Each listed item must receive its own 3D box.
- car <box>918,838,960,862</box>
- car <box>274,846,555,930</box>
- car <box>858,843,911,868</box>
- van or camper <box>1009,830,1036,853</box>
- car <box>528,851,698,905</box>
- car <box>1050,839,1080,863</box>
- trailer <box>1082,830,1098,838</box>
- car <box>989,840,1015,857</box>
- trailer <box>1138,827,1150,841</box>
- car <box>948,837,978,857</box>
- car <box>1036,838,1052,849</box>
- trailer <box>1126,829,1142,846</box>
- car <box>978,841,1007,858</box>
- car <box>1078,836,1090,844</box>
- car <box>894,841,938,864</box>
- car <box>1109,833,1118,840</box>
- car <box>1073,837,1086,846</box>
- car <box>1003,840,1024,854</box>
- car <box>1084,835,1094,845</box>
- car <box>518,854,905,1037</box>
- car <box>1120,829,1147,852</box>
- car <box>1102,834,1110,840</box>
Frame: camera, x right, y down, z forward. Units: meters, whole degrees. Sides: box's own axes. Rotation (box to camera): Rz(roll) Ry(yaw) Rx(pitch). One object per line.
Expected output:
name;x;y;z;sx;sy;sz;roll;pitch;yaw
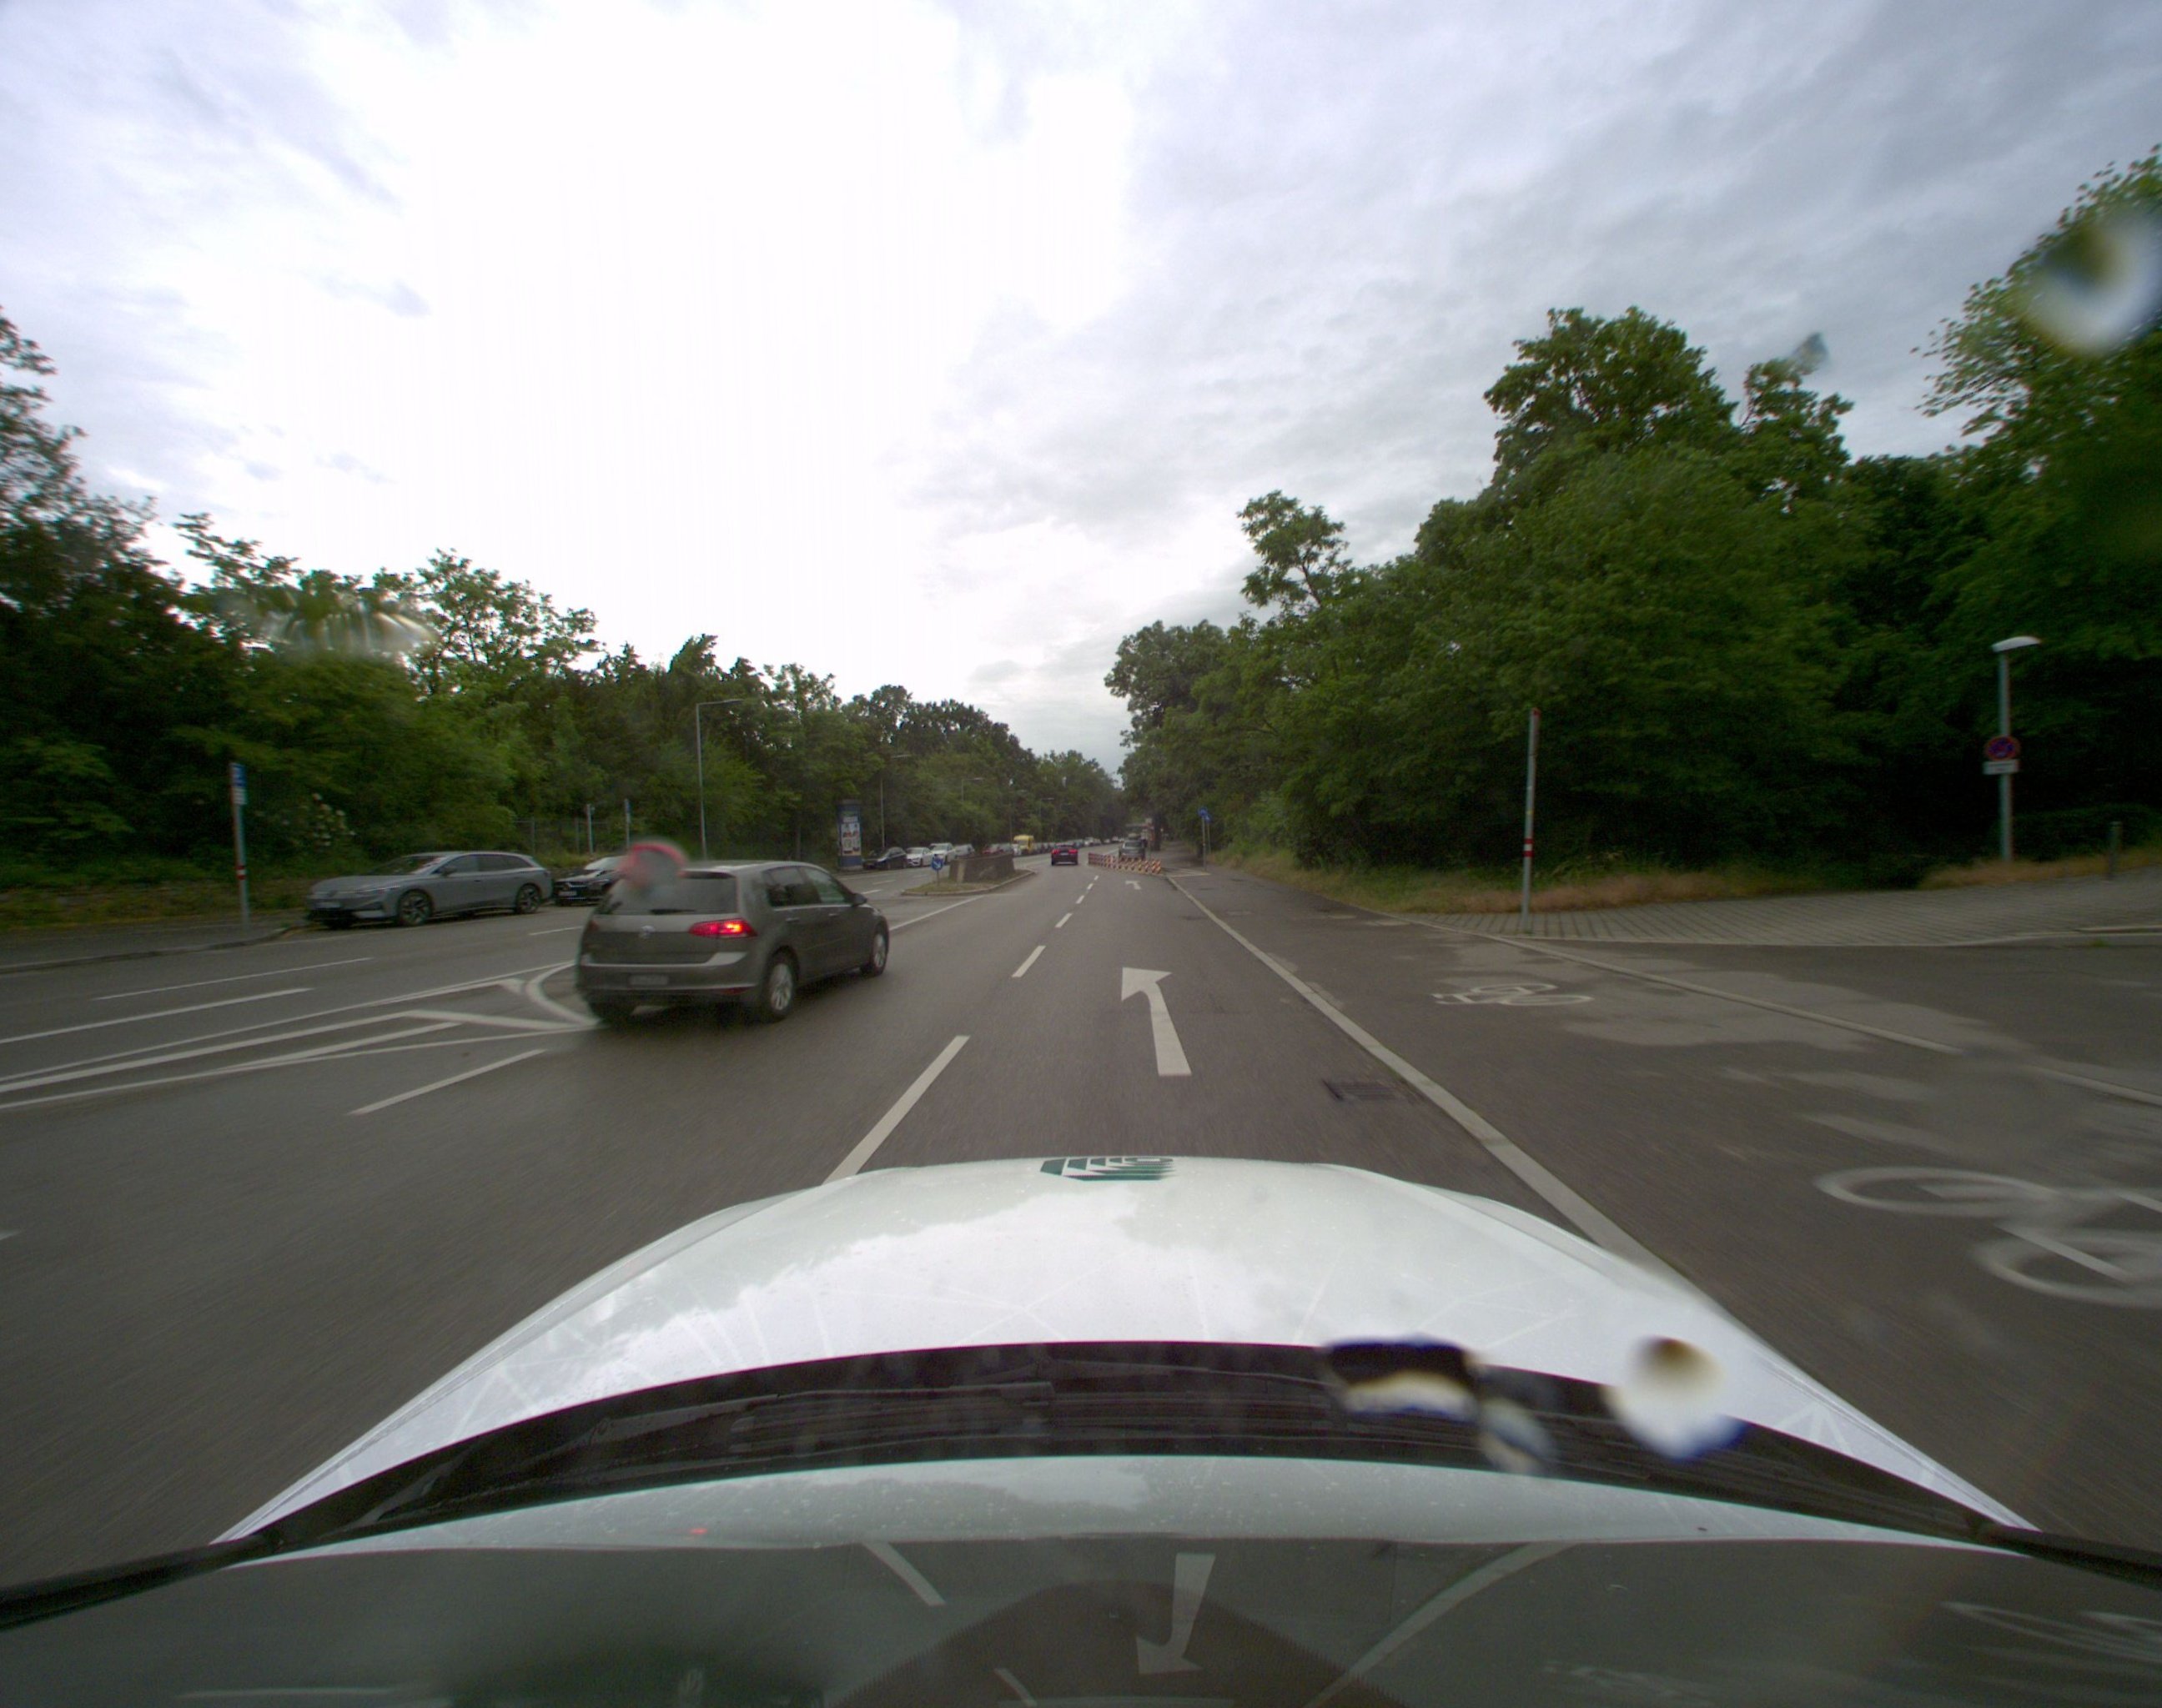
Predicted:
car;-11.213;-0.332;64.738;1.984;1.765;4.968;-2;1;6
car;-14.316;0.634;18.007;1.832;1.589;4.936;-1;0;5
car;-12.719;0.087;53.013;1.739;1.445;4.598;-1;1;8
van or camper;-7.200;-1.601;100.837;2.132;2.627;5.694;-2;1;7
car;-13.593;0.633;24.062;1.897;1.414;4.790;-1;0;5
car;-1.110;-0.240;54.439;1.877;1.465;3.996;0;2;-3
trailer;2.066;-4.365;180.027;1.609;1.628;3.696;-1;2;37
car;-8.650;-0.676;89.341;1.984;1.700;4.622;-2;1;4
trailer;12.077;-3.879;155.723;2.122;2.560;4.303;-2;1;4
car;-10.465;-0.632;72.353;1.724;1.648;4.575;-1;1;3
car;-5.244;-1.548;117.075;1.594;1.510;3.985;-2;2;7
trailer;7.138;-2.265;109.356;1.896;2.247;4.776;-1;1;6
car;-9.103;-0.507;83.841;1.909;1.616;4.499;-3;1;7
car;0.651;-2.805;163.521;1.983;1.488;4.477;-2;1;7
car;-11.864;-0.147;58.923;1.709;1.460;4.717;-2;1;6
car;9.902;-5.382;244.857;2.147;2.013;5.042;-2;1;7
car;-0.331;-2.454;155.026;1.869;1.561;4.477;-2;1;7
car;-7.820;-0.840;94.579;1.609;1.448;3.664;-3;1;7
car;1.783;-3.020;175.237;1.931;2.013;4.745;-2;1;4
car;-3.431;0.730;8.653;1.863;1.441;4.302;0;0;5
car;3.879;-0.976;60.645;1.815;1.614;4.254;-1;1;2
car;6.782;-4.554;219.826;1.664;1.513;3.637;-1;2;6
